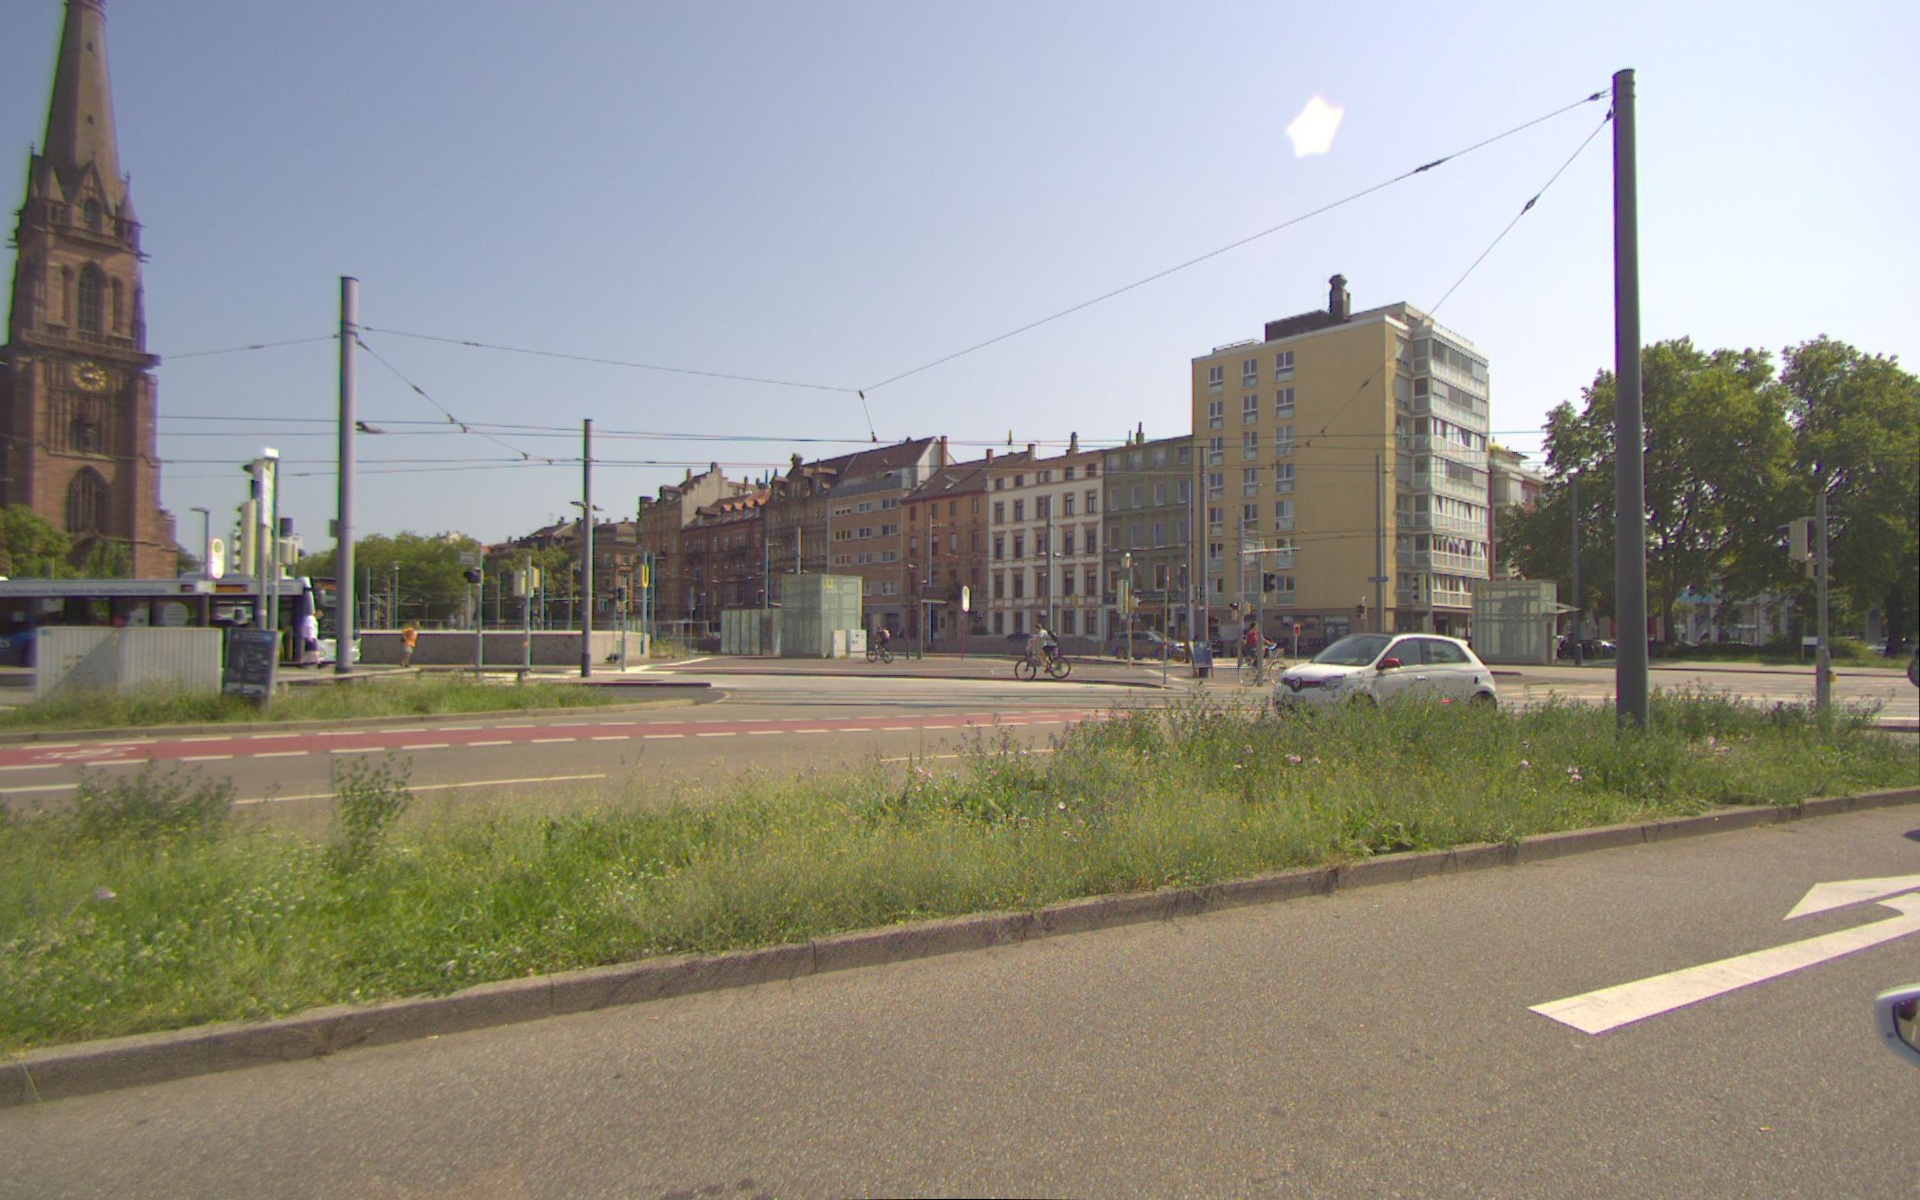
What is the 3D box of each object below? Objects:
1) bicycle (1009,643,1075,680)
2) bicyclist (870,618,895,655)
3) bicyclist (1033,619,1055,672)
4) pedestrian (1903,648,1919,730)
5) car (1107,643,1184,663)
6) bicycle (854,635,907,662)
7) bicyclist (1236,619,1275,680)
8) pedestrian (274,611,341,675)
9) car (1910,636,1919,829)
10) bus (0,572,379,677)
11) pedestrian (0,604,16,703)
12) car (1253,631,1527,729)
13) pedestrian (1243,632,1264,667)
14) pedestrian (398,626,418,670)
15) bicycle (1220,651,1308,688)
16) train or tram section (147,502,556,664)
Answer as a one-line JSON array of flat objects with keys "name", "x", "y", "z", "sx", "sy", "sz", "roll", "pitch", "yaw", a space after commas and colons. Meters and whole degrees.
[{"name": "bicycle", "x": 2.593, "y": 1.937, "z": 31.886, "sx": 2.004, "sy": 1.152, "sz": 0.698, "roll": 1, "pitch": -2, "yaw": -3}, {"name": "bicyclist", "x": -3.561, "y": 1.681, "z": 46.295, "sx": 0.958, "sy": 1.675, "sz": 0.661, "roll": -1, "pitch": -2, "yaw": 31}, {"name": "bicyclist", "x": 2.653, "y": 1.449, "z": 31.901, "sx": 0.607, "sy": 1.671, "sz": 0.692, "roll": 0, "pitch": -2, "yaw": -3}, {"name": "pedestrian", "x": 15.640, "y": 1.436, "z": 16.206, "sx": 0.502, "sy": 1.285, "sz": 0.590, "roll": -1, "pitch": 0, "yaw": -45}, {"name": "car", "x": 10.096, "y": 2.875, "z": 54.739, "sx": 3.838, "sy": 1.000, "sz": 1.708, "roll": -2, "pitch": -3, "yaw": 41}, {"name": "bicycle", "x": -3.630, "y": 2.215, "z": 46.148, "sx": 0.958, "sy": 1.194, "sz": 2.827, "roll": -1, "pitch": -2, "yaw": 30}, {"name": "bicyclist", "x": 8.322, "y": 1.393, "z": 28.322, "sx": 0.603, "sy": 1.664, "sz": 0.830, "roll": 0, "pitch": -2, "yaw": -44}, {"name": "pedestrian", "x": -19.652, "y": 1.302, "z": 30.273, "sx": 1.284, "sy": 1.910, "sz": 1.039, "roll": 0, "pitch": -3, "yaw": 2}, {"name": "car", "x": 9.200, "y": 1.004, "z": 7.429, "sx": 3.924, "sy": 1.423, "sz": 1.754, "roll": 1, "pitch": -1, "yaw": -23}, {"name": "bus", "x": -25.613, "y": 0.792, "z": 32.074, "sx": 12.236, "sy": 3.111, "sz": 3.108, "roll": 0, "pitch": -2, "yaw": 0}, {"name": "pedestrian", "x": -17.040, "y": 0.932, "z": 17.376, "sx": 0.615, "sy": 1.725, "sz": 0.788, "roll": 0, "pitch": -2, "yaw": 11}, {"name": "car", "x": 6.977, "y": 1.250, "z": 16.345, "sx": 4.005, "sy": 1.443, "sz": 1.768, "roll": 1, "pitch": -2, "yaw": -20}, {"name": "pedestrian", "x": 14.060, "y": 2.365, "z": 48.065, "sx": 0.809, "sy": 1.654, "sz": 0.642, "roll": 2, "pitch": -3, "yaw": -44}, {"name": "pedestrian", "x": -20.837, "y": 1.803, "z": 37.931, "sx": 0.457, "sy": 1.633, "sz": 0.465, "roll": 0, "pitch": -2, "yaw": -1}, {"name": "bicycle", "x": 8.487, "y": 1.929, "z": 28.141, "sx": 0.600, "sy": 0.966, "sz": 2.386, "roll": 2, "pitch": -3, "yaw": -44}, {"name": "train or tram section", "x": -14.655, "y": -0.301, "z": 24.772, "sx": 8.082, "sy": 3.616, "sz": 3.146, "roll": -1, "pitch": -3, "yaw": 0}]
